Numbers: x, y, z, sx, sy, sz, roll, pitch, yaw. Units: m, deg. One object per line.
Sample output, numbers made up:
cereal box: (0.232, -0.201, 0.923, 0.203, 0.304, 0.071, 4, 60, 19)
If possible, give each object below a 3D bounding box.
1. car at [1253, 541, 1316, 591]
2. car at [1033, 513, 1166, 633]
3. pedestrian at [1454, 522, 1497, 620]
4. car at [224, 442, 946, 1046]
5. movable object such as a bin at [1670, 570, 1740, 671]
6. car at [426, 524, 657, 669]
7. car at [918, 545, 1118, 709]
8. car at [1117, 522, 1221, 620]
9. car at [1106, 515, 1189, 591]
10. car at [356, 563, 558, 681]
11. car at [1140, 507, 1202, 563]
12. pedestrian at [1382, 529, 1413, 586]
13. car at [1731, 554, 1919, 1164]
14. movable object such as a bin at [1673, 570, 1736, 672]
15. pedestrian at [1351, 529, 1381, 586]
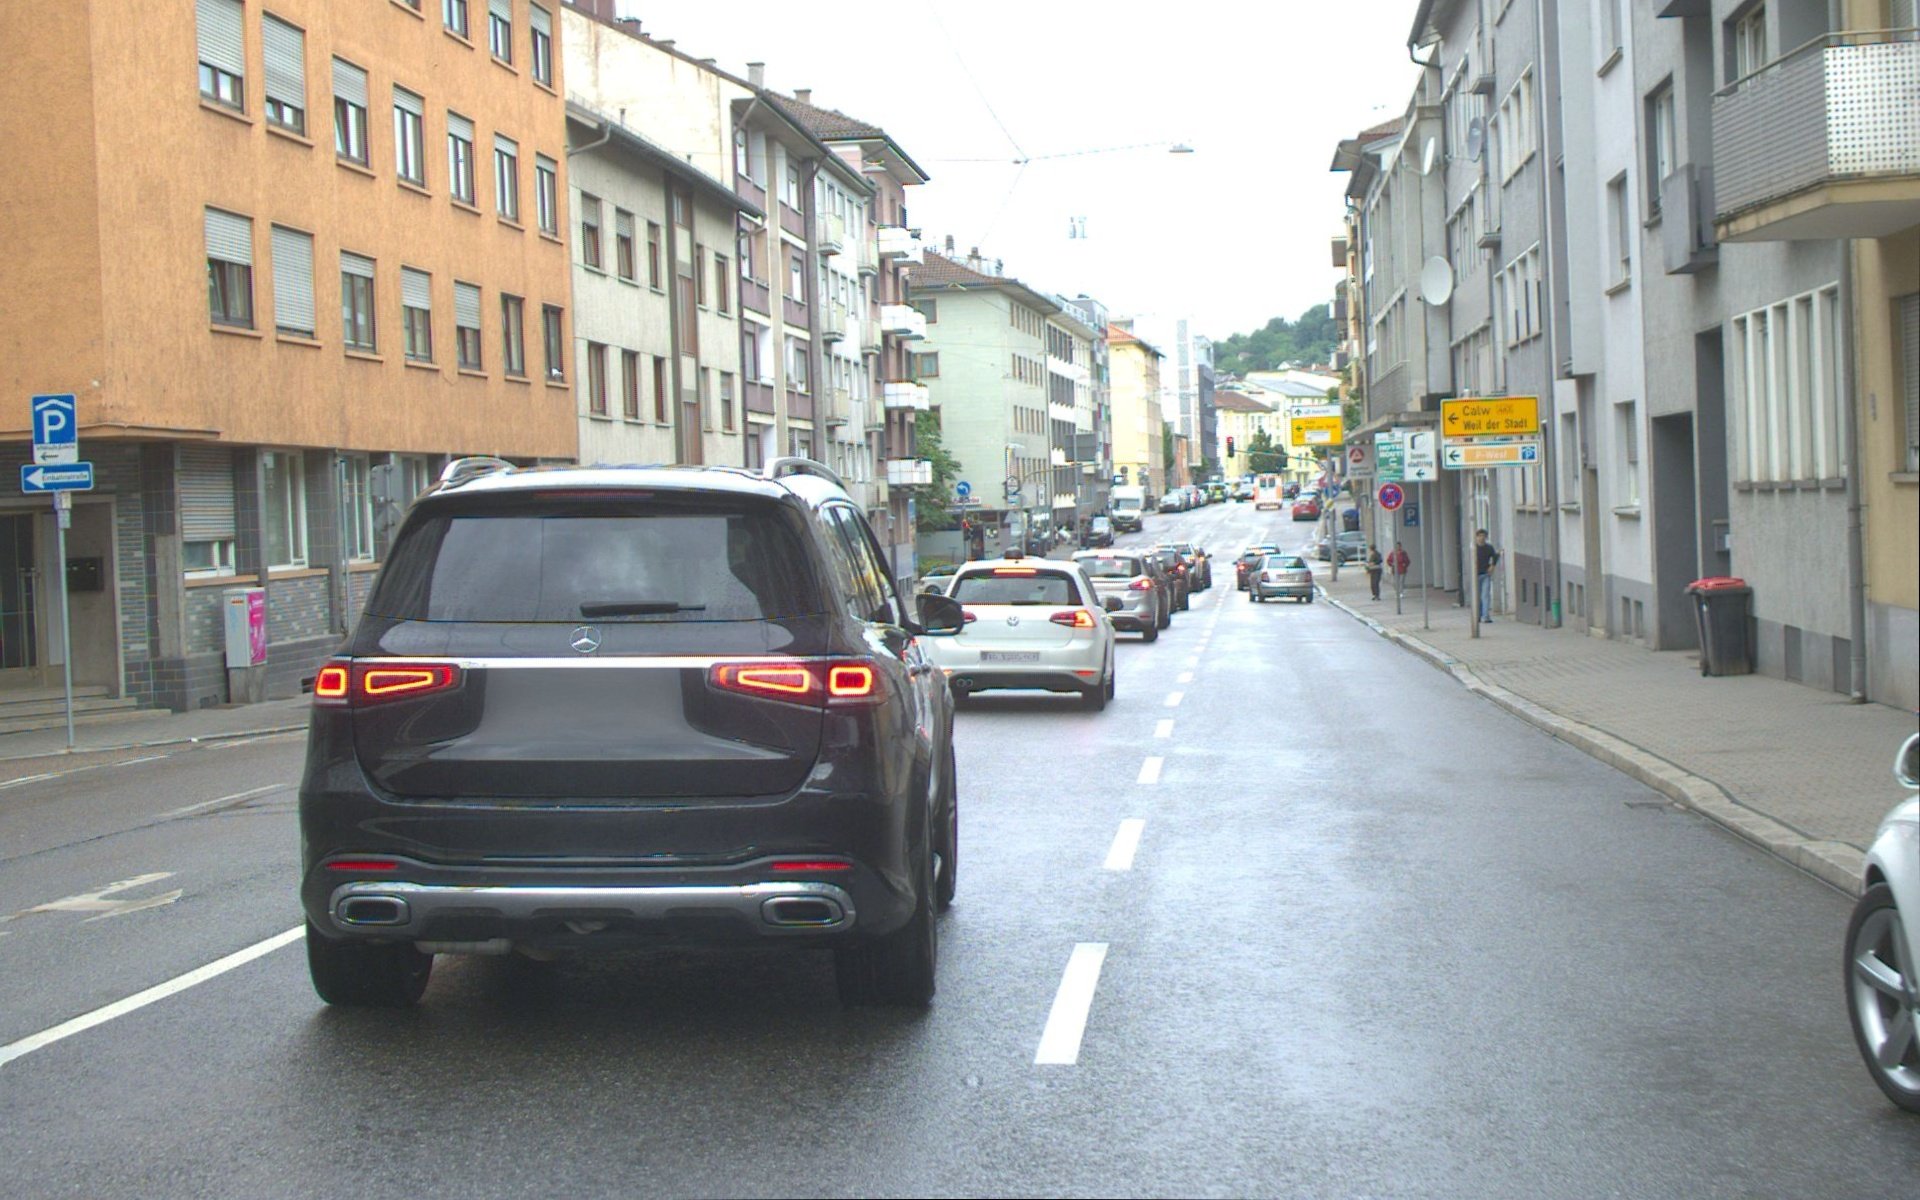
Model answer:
car: (9.768, -1.041, 103.673, 1.734, 1.383, 4.582, -1, 1, 3)
car: (2.488, -0.505, 60.252, 1.994, 2.007, 3.999, -1, 1, 7)
pedestrian: (9.538, -0.544, 63.580, 0.656, 1.746, 0.741, -4, 1, 10)
car: (-1.118, 0.360, 12.478, 2.076, 1.759, 4.611, -1, 2, 0)
movable object such as a bin: (7.500, 0.206, 34.628, 0.562, 0.959, 0.474, -5, 1, 7)
car: (-4.859, -0.081, 40.472, 1.827, 1.411, 4.295, -5, 1, 4)
car: (0.629, 0.221, 34.713, 1.893, 1.505, 4.173, 0, 1, 2)
car: (4.547, -0.657, 74.218, 1.994, 2.007, 3.999, -1, 1, 7)
car: (5.139, -1.303, 93.797, 1.994, 2.007, 3.999, -1, 1, 7)
car: (-6.861, 0.271, 47.321, 1.891, 1.453, 4.549, -1, 1, 3)
car: (7.747, -2.388, 125.830, 1.994, 2.007, 3.999, -1, 1, 7)
pedestrian: (12.115, -1.176, 95.197, 0.821, 1.560, 0.899, -1, 1, 7)
car: (3.143, 0.572, 7.501, 1.893, 1.398, 4.609, -7, 1, 2)
movable object such as a bin: (7.383, 0.205, 34.092, 0.473, 0.959, 0.564, -5, 1, 6)
pedestrian: (11.256, -1.179, 95.295, 0.821, 1.560, 0.899, -1, 1, 7)
